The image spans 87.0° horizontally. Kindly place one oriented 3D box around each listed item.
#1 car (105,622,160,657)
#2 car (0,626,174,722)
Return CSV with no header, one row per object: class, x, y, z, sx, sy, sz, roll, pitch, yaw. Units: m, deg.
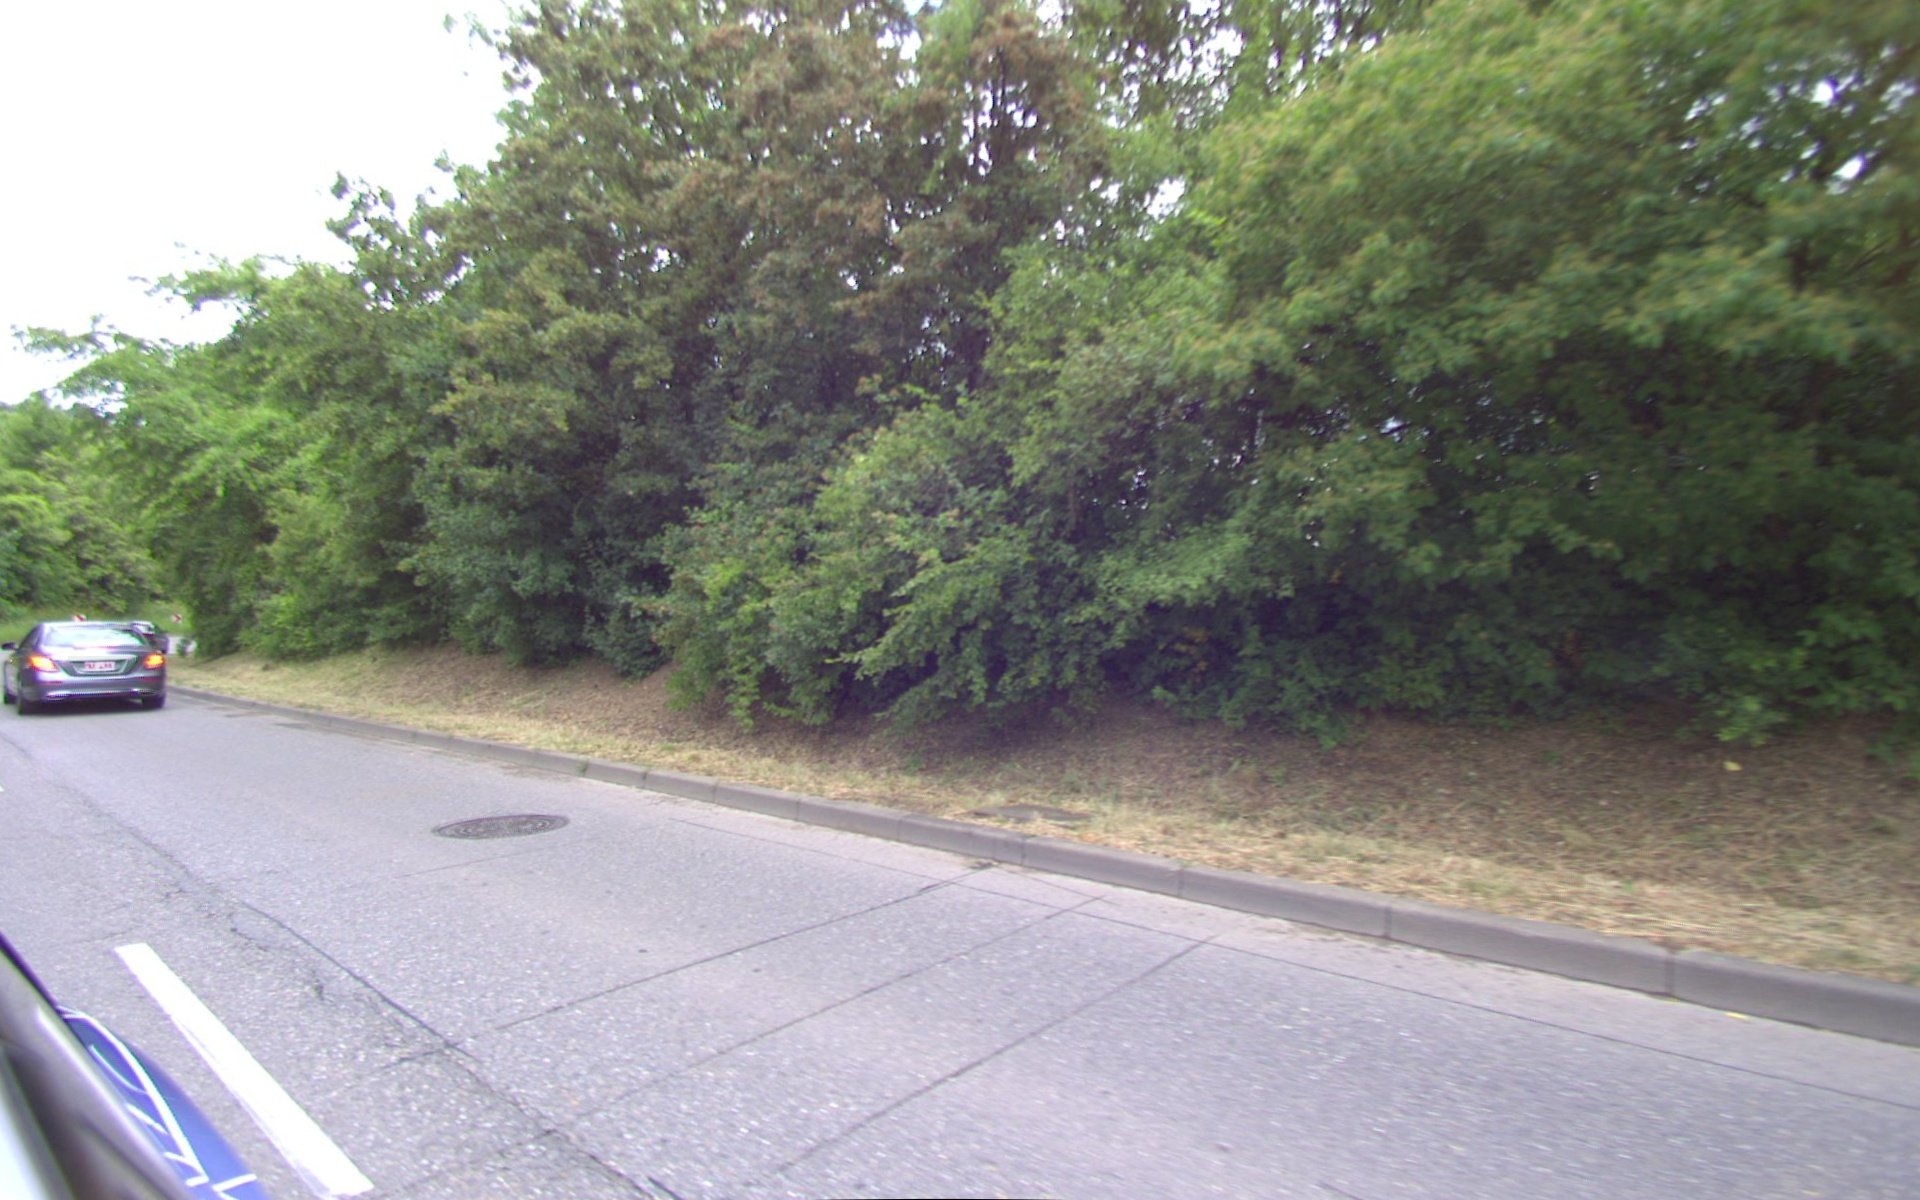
car,-35.509,1.658,43.496,1.612,1.416,3.605,1,-1,-36
car,-14.856,1.150,17.030,4.430,1.416,1.811,-1,-2,42
